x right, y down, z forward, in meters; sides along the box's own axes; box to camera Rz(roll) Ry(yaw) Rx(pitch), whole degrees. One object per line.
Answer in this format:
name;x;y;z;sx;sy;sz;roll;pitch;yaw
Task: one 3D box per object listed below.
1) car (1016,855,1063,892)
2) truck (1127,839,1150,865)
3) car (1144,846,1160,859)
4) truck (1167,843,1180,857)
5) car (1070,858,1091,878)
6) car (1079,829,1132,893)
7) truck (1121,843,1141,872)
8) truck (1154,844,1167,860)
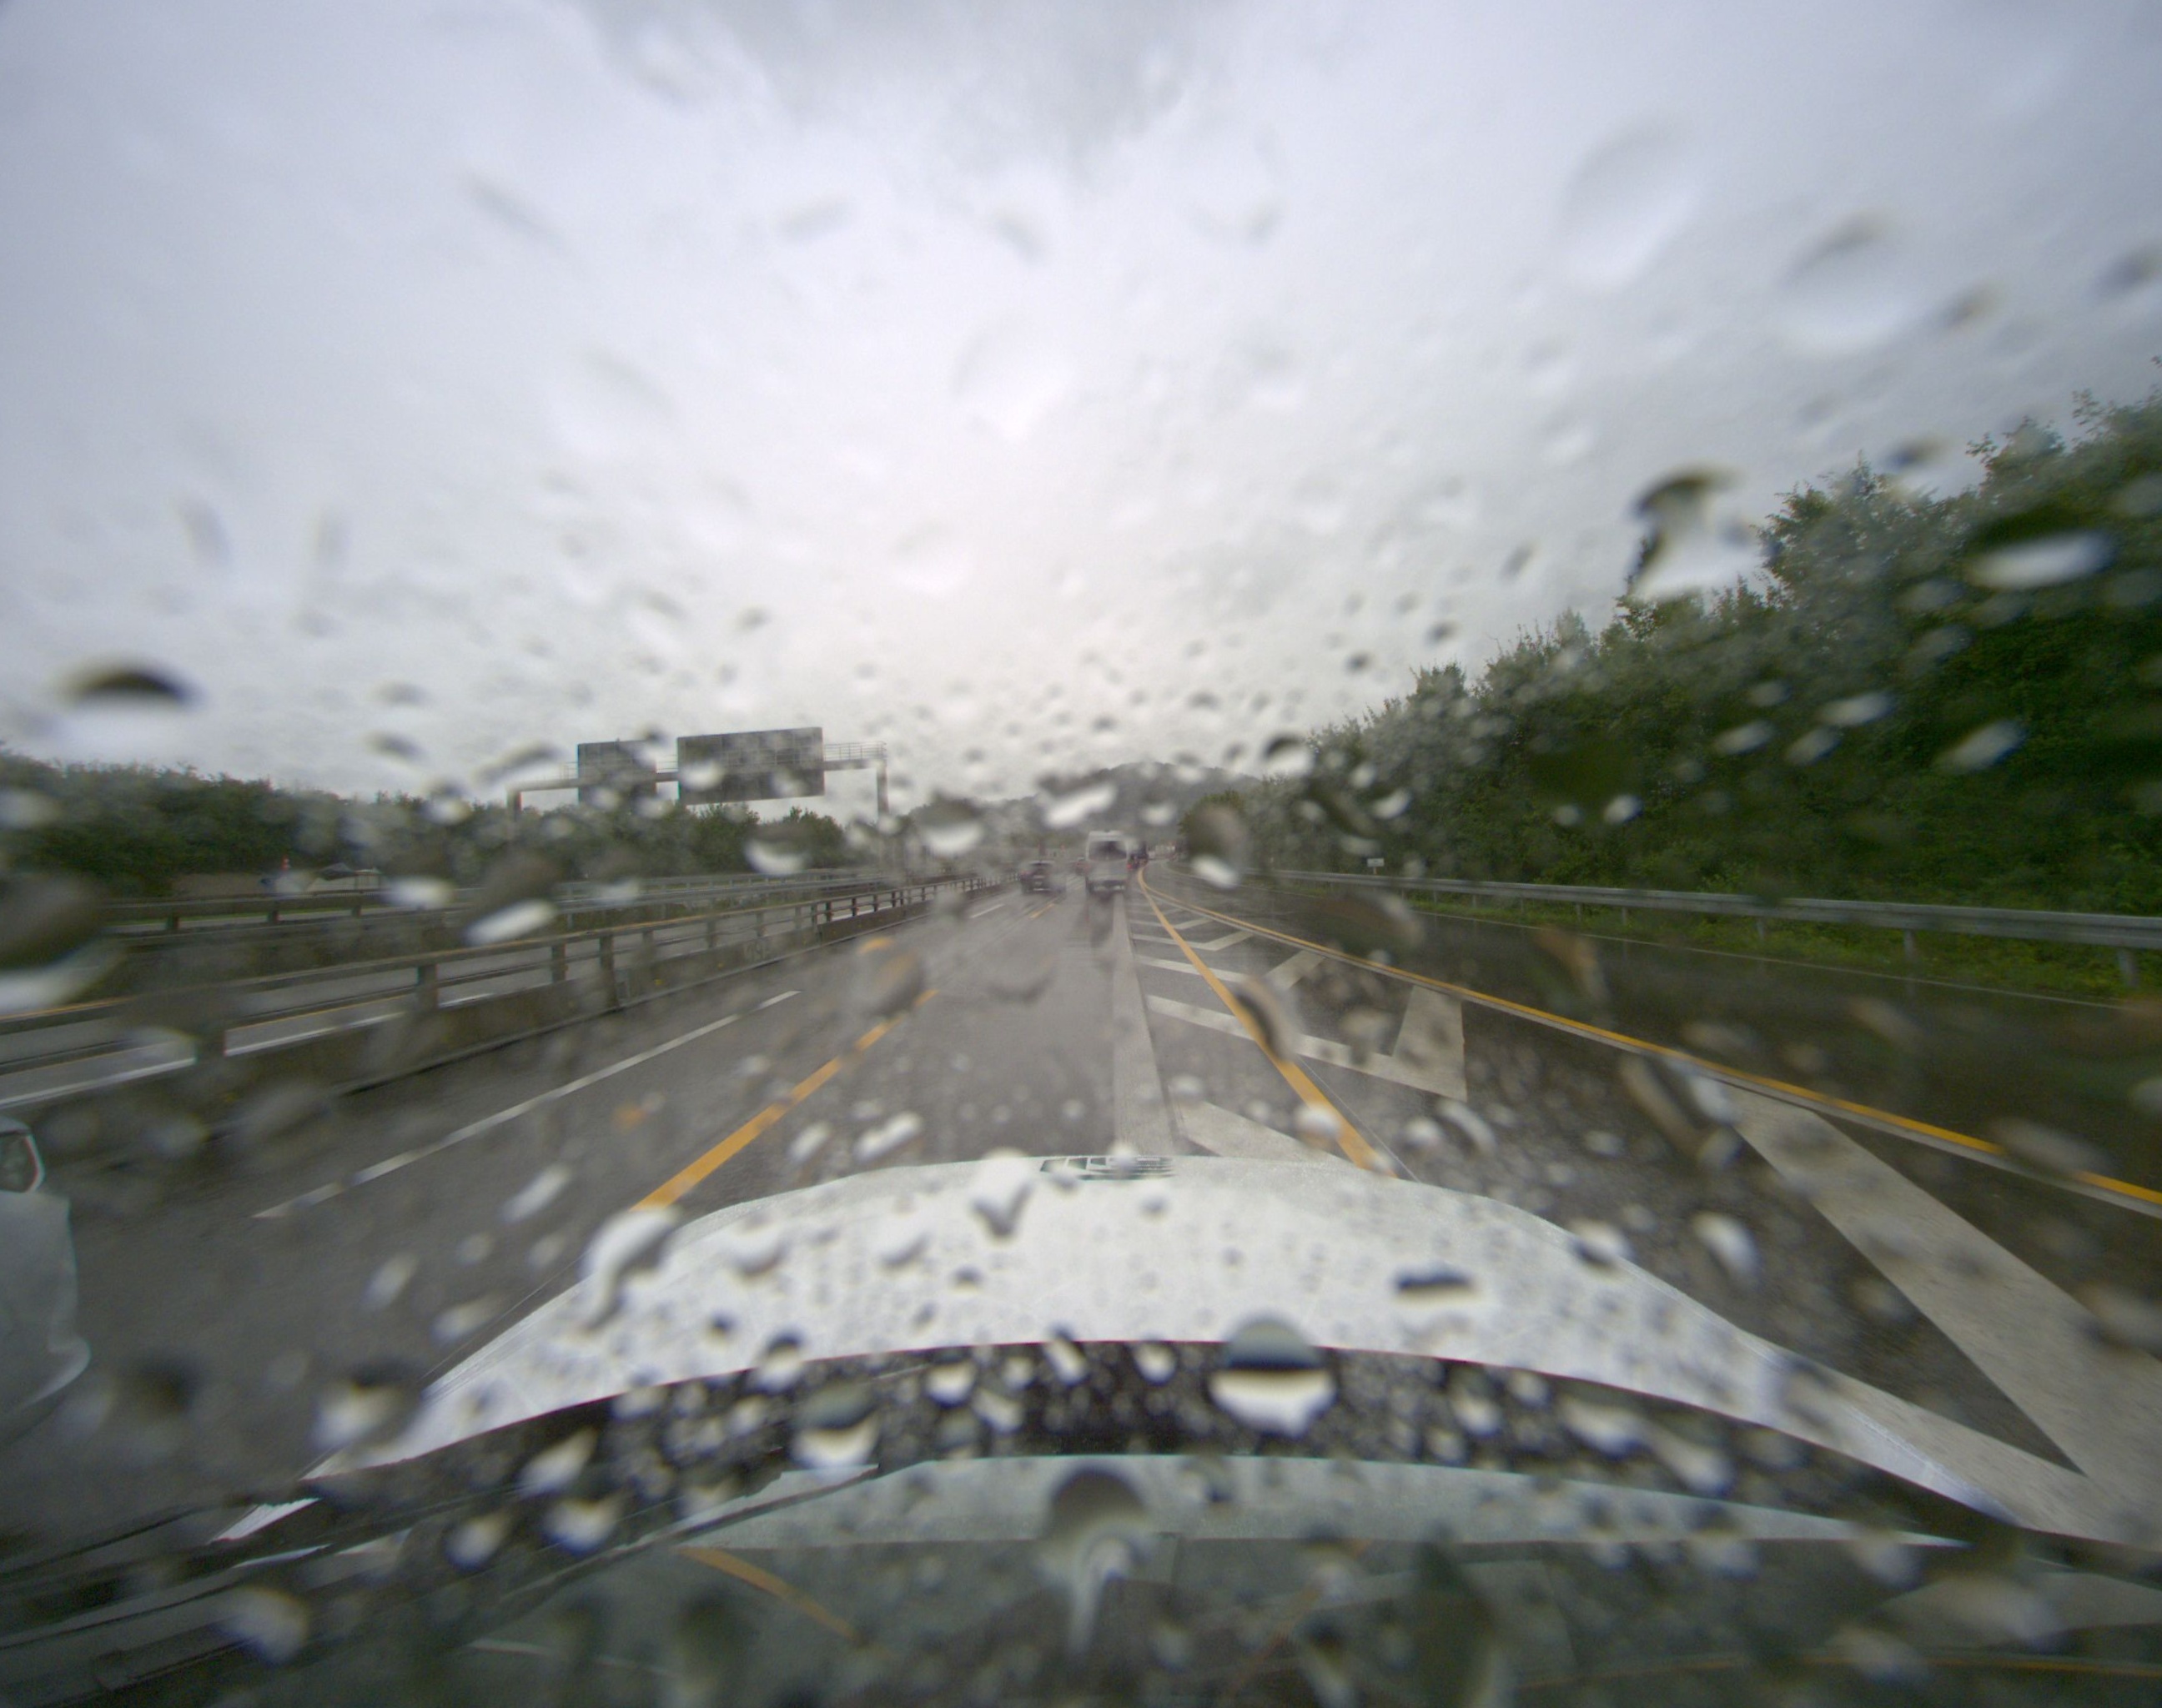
car;-1.816;0.850;36.873;1.941;1.561;3.998;-1;0;-1
truck;10.091;-0.329;141.583;3.563;4.406;9.640;-1;0;6
car;16.496;-0.336;187.825;2.879;2.887;6.431;-1;0;11
truck;29.646;-1.366;261.632;2.878;4.406;9.659;-1;0;14
car;0.021;1.182;70.946;1.700;1.627;4.001;-1;0;1
car;1.148;0.304;36.071;2.136;2.571;5.394;-1;0;3
truck;5.615;0.398;90.385;1.984;3.109;8.510;-1;0;5
truck;22.155;-0.591;227.027;3.018;4.406;9.647;-1;0;9
